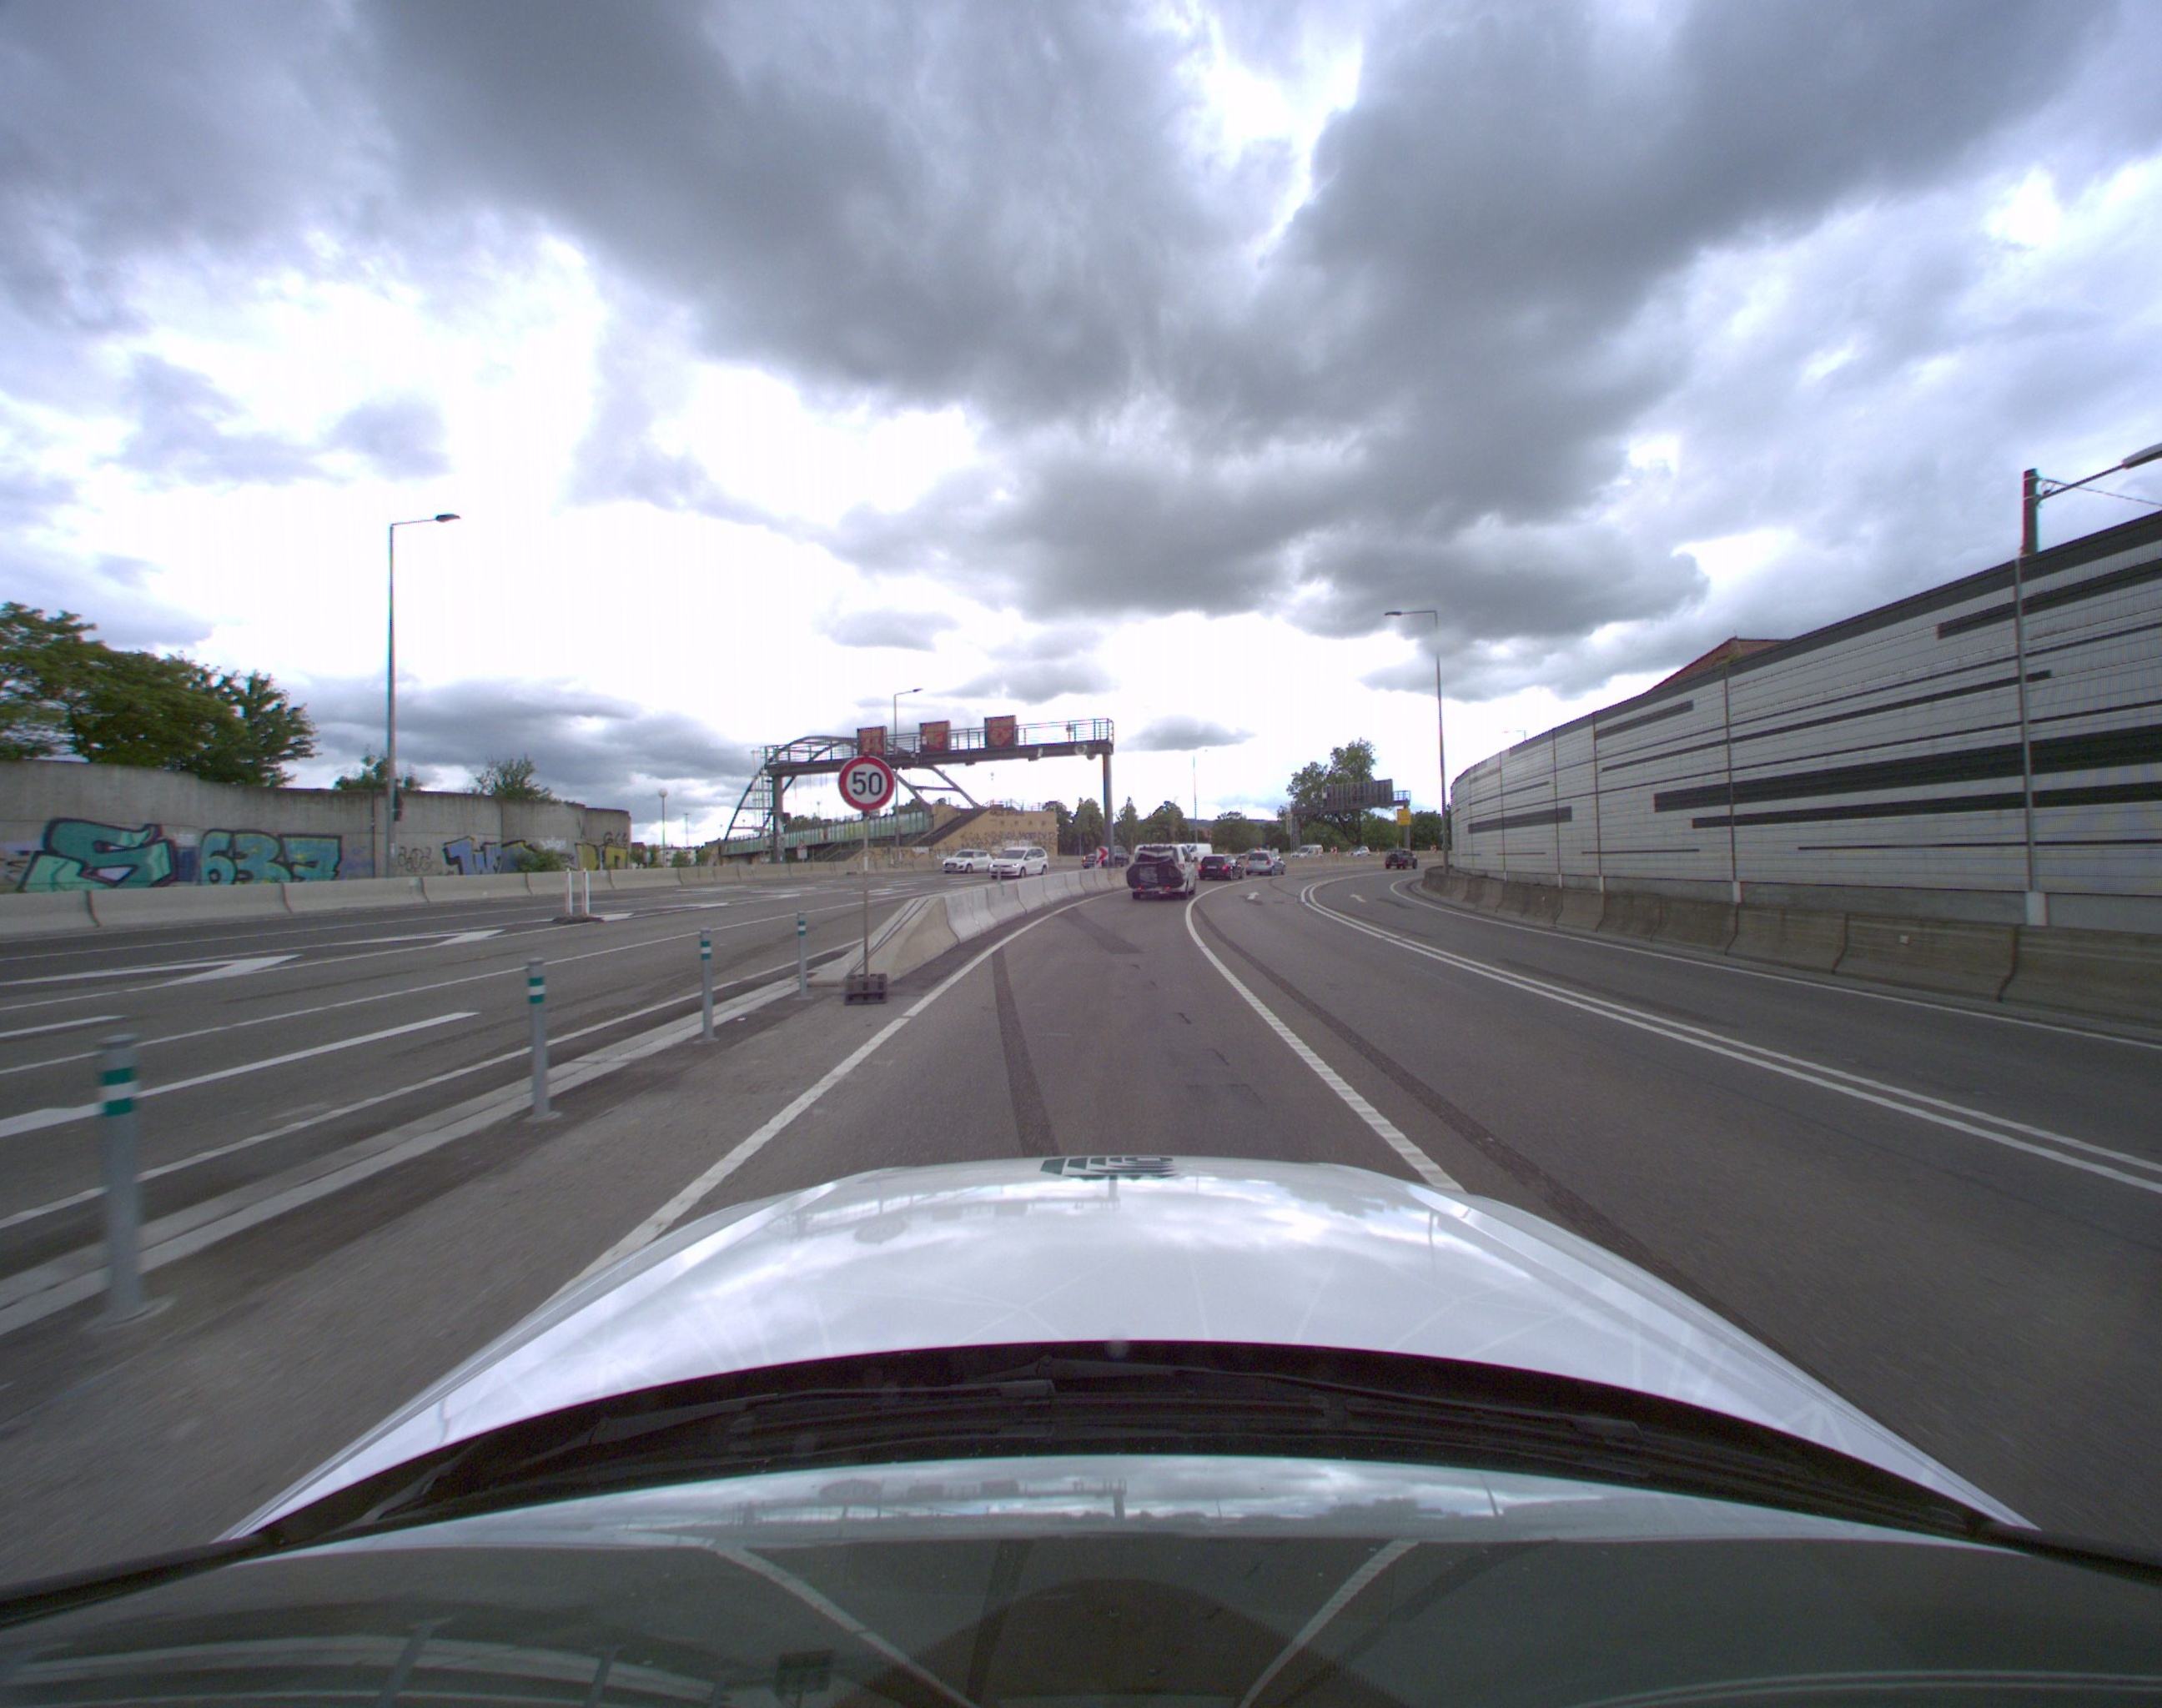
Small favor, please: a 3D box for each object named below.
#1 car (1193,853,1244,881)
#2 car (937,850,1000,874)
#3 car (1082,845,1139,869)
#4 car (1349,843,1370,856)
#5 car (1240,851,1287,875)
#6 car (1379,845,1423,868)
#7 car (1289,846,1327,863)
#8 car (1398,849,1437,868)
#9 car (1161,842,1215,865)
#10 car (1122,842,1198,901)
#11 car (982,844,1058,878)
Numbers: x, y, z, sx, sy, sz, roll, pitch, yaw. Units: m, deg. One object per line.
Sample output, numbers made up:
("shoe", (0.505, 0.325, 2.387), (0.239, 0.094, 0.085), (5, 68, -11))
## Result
("car", (7.640, 0.671, 45.028), (1.799, 1.434, 4.088), (-2, -1, 23))
("car", (-6.999, 0.453, 51.181), (1.743, 1.434, 4.170), (-1, 0, 29))
("car", (2.271, 0.216, 60.592), (1.974, 1.695, 4.959), (0, 0, 33))
("car", (32.625, -0.558, 95.455), (1.609, 1.475, 2.959), (0, 0, 34))
("car", (12.013, 0.570, 53.405), (1.902, 1.488, 4.090), (-1, 0, 29))
("car", (26.851, 0.182, 68.210), (4.023, 1.860, 1.975), (0, -1, -45))
("car", (23.537, 0.066, 84.365), (4.284, 1.686, 1.975), (0, 0, -44))
("car", (31.419, 0.386, 75.956), (4.023, 1.673, 1.975), (-1, 1, -45))
("car", (9.339, -0.067, 70.673), (2.216, 1.951, 5.136), (0, 0, 40))
("car", (2.890, 0.548, 28.511), (1.979, 1.859, 5.660), (0, 0, 12))
("car", (-3.262, 0.388, 44.937), (1.933, 1.750, 5.303), (-1, 0, 23))
